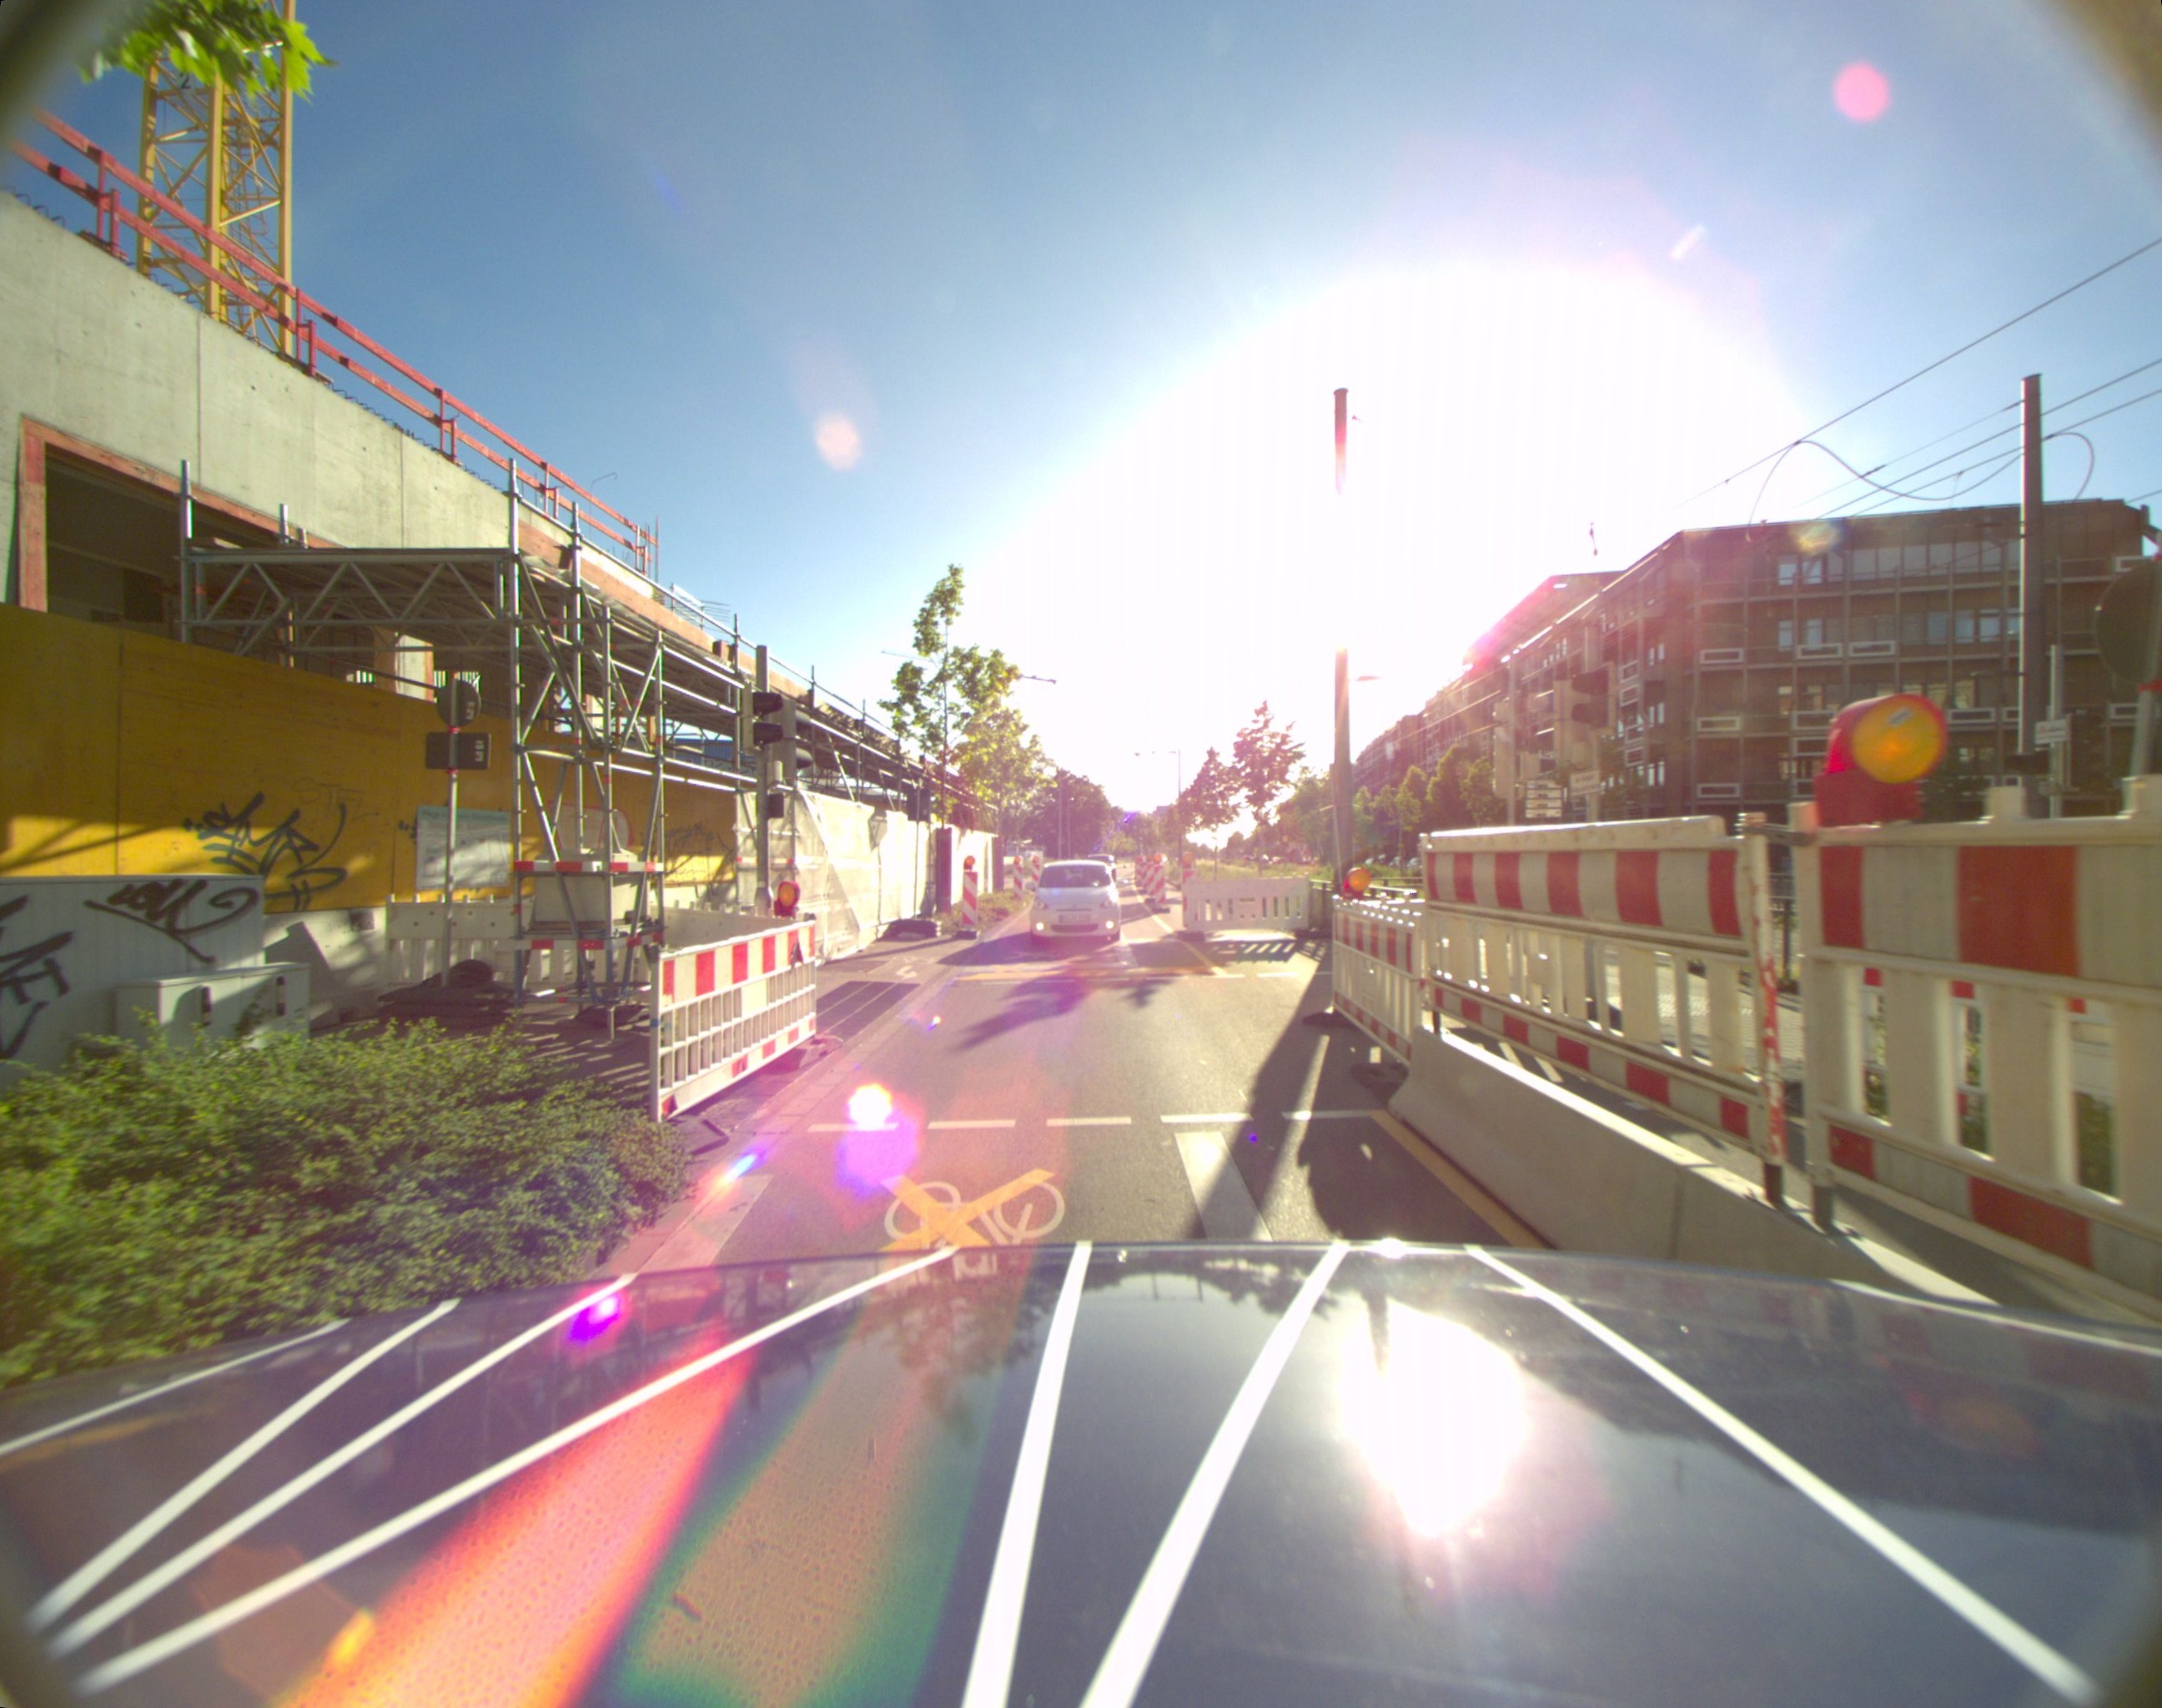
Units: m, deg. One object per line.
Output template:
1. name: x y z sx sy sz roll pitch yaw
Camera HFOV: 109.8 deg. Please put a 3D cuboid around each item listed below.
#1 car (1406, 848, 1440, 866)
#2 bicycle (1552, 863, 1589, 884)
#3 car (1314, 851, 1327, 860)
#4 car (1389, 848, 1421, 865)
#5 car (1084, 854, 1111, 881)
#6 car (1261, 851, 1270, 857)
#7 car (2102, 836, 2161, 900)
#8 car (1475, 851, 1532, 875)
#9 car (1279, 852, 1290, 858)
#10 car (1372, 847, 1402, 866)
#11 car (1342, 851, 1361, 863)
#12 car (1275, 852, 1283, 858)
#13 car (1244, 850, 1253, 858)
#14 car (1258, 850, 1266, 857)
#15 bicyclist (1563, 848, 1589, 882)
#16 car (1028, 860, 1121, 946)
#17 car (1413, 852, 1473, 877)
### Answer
1. car: 28.687 0.264 63.901 1.627 1.433 3.821 -2 0 9
2. bicycle: 24.002 0.935 37.303 0.696 0.972 1.827 -1 0 2
3. car: 44.615 0.219 141.562 1.725 1.535 3.633 -2 0 8
4. car: 29.327 0.219 68.947 1.741 1.527 3.887 -1 0 9
5. car: 0.940 0.750 43.803 1.458 1.472 3.527 0 0 1
6. car: 43.288 0.017 178.448 1.630 1.487 3.782 0 0 9
7. car: 34.192 0.396 22.905 4.522 1.892 1.897 0 0 -4
8. car: 27.478 0.541 49.506 1.734 1.453 3.901 -2 0 4
9. car: 45.072 0.221 168.301 1.719 1.379 4.042 -1 0 8
10. car: 29.769 0.269 74.064 1.754 1.761 4.334 -2 0 9
11. car: 33.597 0.369 94.353 1.719 1.379 4.043 -1 1 12
12. car: 46.485 0.177 178.378 1.630 1.487 4.420 0 0 10
13. car: 37.831 -0.021 171.655 1.731 1.736 4.123 -1 0 7
14. car: 46.453 -0.069 194.743 1.864 1.671 3.782 0 0 10
15. bicyclist: 24.227 0.523 37.190 0.696 1.648 0.882 -1 1 2
16. car: -0.036 0.921 15.713 1.614 1.488 3.395 -3 0 3
17. car: 22.102 0.611 46.586 1.857 1.412 4.070 -1 0 2
